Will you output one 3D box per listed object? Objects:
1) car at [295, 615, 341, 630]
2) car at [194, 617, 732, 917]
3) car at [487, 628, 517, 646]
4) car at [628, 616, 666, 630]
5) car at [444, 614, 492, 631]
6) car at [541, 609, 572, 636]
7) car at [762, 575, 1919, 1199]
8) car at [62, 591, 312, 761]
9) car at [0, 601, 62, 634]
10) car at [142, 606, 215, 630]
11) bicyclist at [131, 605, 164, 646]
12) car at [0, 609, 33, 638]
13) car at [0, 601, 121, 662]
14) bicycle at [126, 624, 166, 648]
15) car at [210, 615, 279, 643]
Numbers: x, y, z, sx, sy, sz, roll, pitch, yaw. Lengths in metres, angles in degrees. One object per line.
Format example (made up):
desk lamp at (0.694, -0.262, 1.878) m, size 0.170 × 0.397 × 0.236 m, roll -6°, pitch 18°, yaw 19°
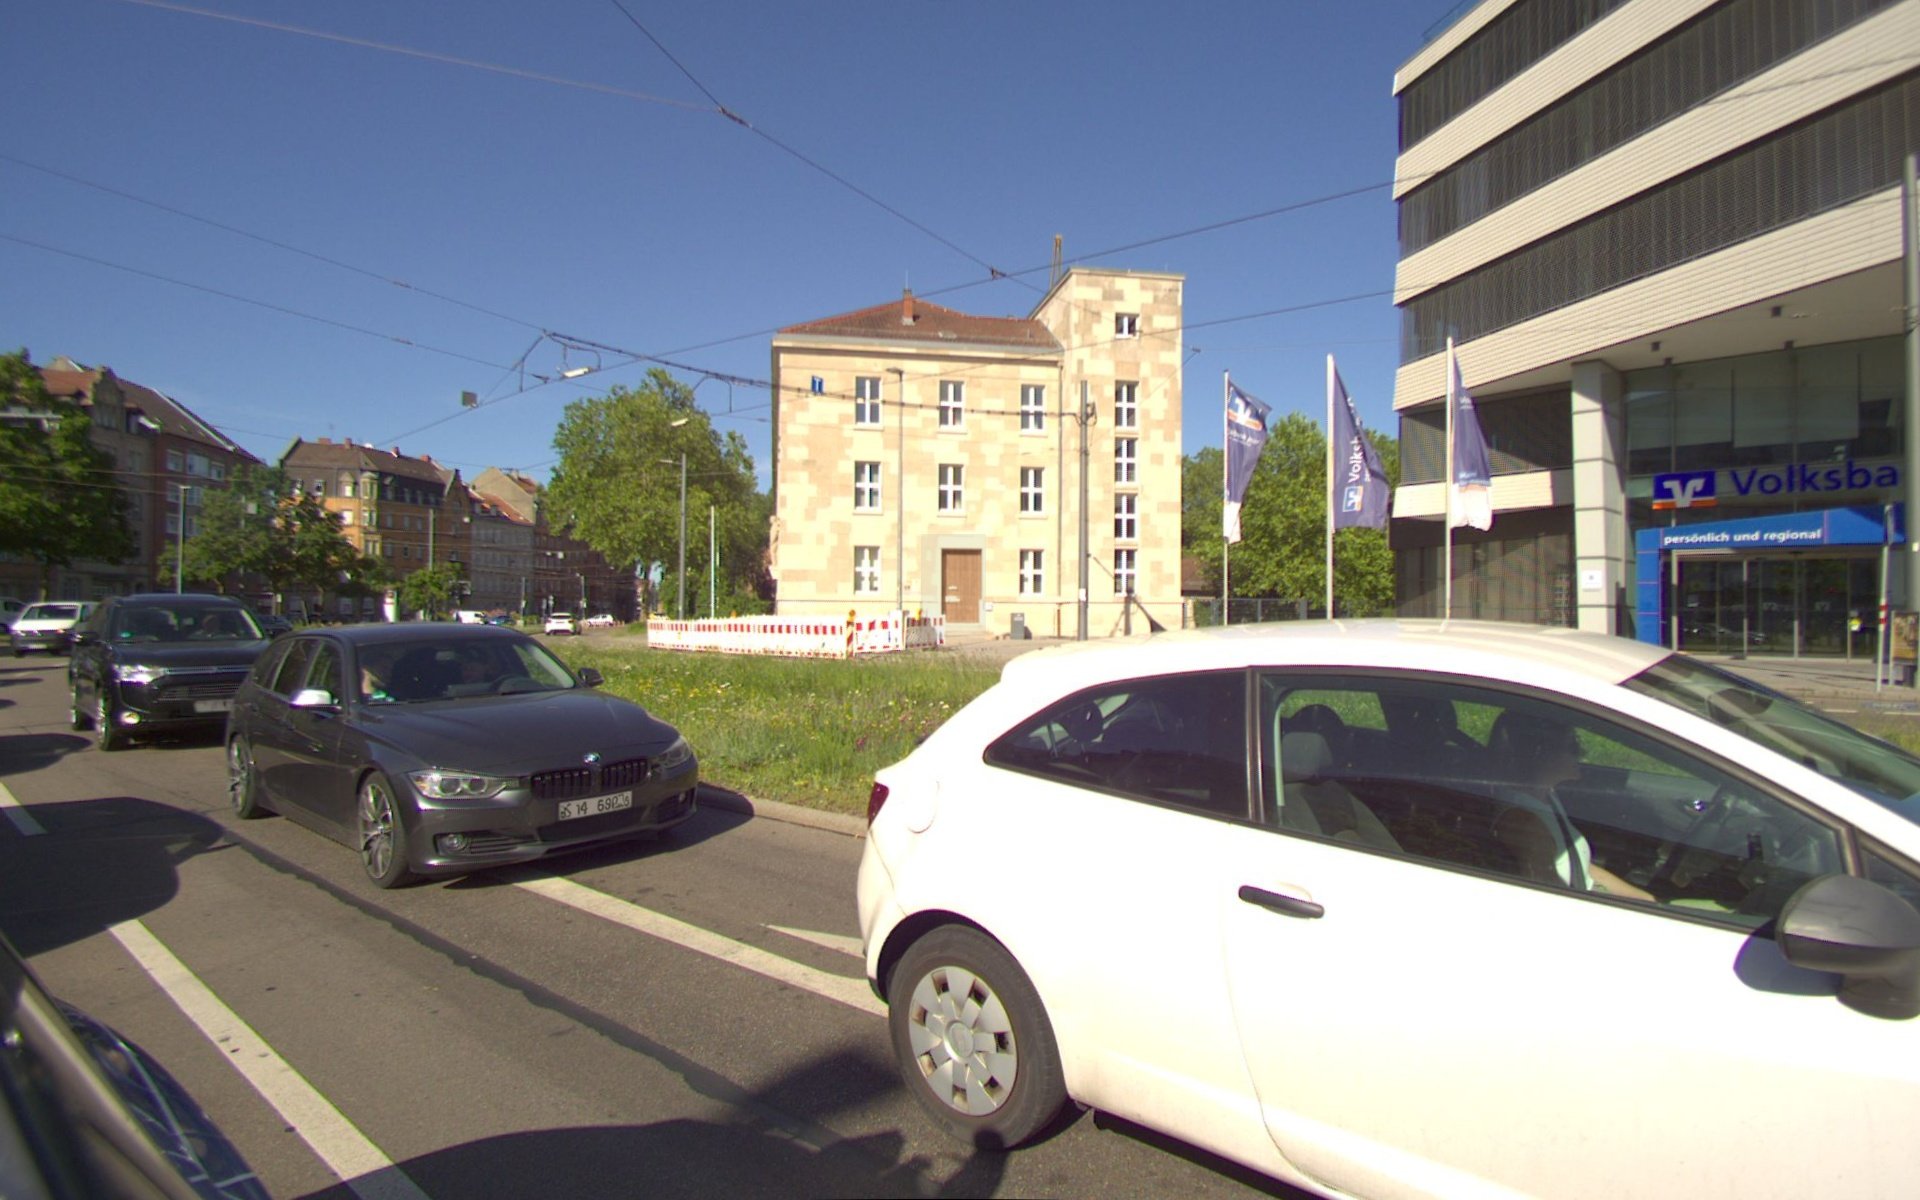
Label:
car at (-71.935, 2.532, 113.379) m, size 4.001 × 1.669 × 1.772 m, roll 1°, pitch -1°, yaw -16°
car at (-3.599, 0.829, 6.885) m, size 4.424 × 1.377 × 1.719 m, roll -1°, pitch 0°, yaw 41°
car at (-47.007, 3.781, 103.871) m, size 1.811 × 1.659 × 4.157 m, roll 1°, pitch -1°, yaw -10°
car at (-36.748, 2.715, 119.008) m, size 1.763 × 1.669 × 4.021 m, roll 0°, pitch -2°, yaw 35°
car at (-56.211, 2.591, 115.725) m, size 4.520 × 1.889 × 2.003 m, roll -1°, pitch 0°, yaw -6°
car at (-26.006, 1.473, 65.333) m, size 1.794 × 1.658 × 4.195 m, roll 0°, pitch -1°, yaw -20°
car at (1.481, 0.696, 2.485) m, size 4.020 × 1.452 × 1.714 m, roll 0°, pitch 2°, yaw 40°
car at (-9.381, 0.774, 12.135) m, size 1.817 × 1.658 × 4.400 m, roll -1°, pitch -1°, yaw -45°
car at (-49.930, 0.894, 52.797) m, size 4.514 × 1.680 × 1.601 m, roll 2°, pitch -2°, yaw -43°
car at (-53.931, 1.278, 69.879) m, size 3.771 × 1.603 × 1.601 m, roll 2°, pitch -2°, yaw -44°
bicyclist at (-40.480, 1.272, 50.436) m, size 0.835 × 2.029 × 1.200 m, roll 0°, pitch -1°, yaw -17°
car at (-48.765, 1.155, 50.391) m, size 3.768 × 1.390 × 1.602 m, roll 2°, pitch -2°, yaw -41°
car at (-32.782, 1.128, 37.016) m, size 1.949 × 2.101 × 4.729 m, roll 1°, pitch -1°, yaw -24°
bicycle at (-40.446, 1.772, 50.324) m, size 0.751 × 1.153 × 2.290 m, roll 0°, pitch -1°, yaw -18°
car at (-39.446, 1.586, 55.894) m, size 1.809 × 1.483 × 4.728 m, roll 1°, pitch -1°, yaw -19°
